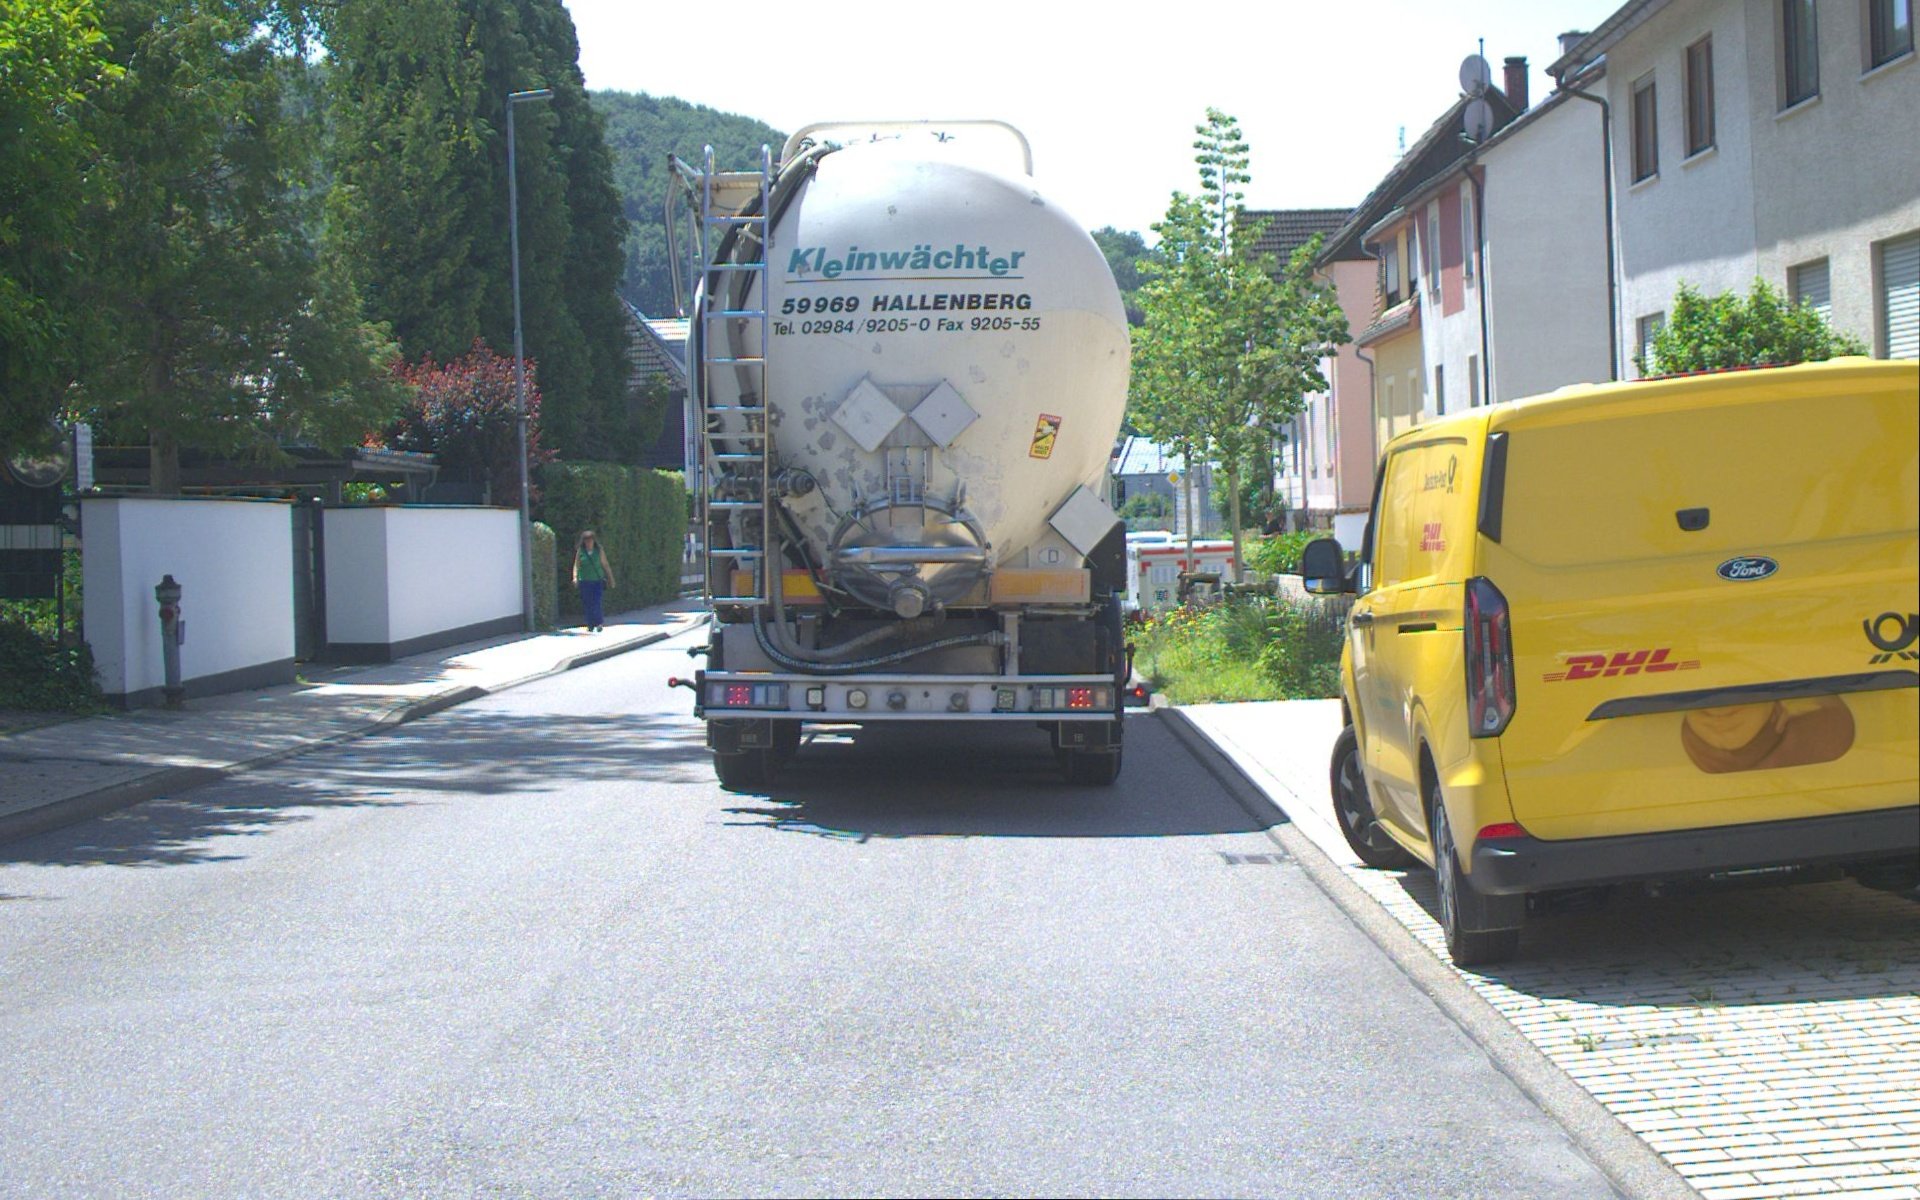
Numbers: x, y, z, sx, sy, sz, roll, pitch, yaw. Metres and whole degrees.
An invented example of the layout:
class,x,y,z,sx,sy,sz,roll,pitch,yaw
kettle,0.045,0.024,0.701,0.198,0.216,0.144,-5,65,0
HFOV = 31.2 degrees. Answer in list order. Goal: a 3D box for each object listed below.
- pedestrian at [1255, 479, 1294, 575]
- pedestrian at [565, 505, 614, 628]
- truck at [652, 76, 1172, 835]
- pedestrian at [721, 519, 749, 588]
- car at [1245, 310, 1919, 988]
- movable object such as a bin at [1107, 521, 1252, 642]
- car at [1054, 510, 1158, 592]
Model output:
class,x,y,z,sx,sy,sz,roll,pitch,yaw
pedestrian,6.616,-1.528,72.290,0.746,2.007,1.033,0,0,2
pedestrian,-6.093,-0.545,56.556,0.720,2.007,0.804,0,0,0
truck,-0.275,-0.888,23.884,2.750,4.043,10.890,-1,1,0
pedestrian,-5.980,-1.236,91.436,0.712,1.817,0.898,0,0,-3
car,2.596,0.114,13.725,2.189,2.007,5.623,-6,0,-1
movable object such as a bin,2.741,-0.233,43.437,1.571,1.412,3.041,-2,0,0
car,2.793,-0.920,66.771,1.756,1.413,4.633,-3,0,0
